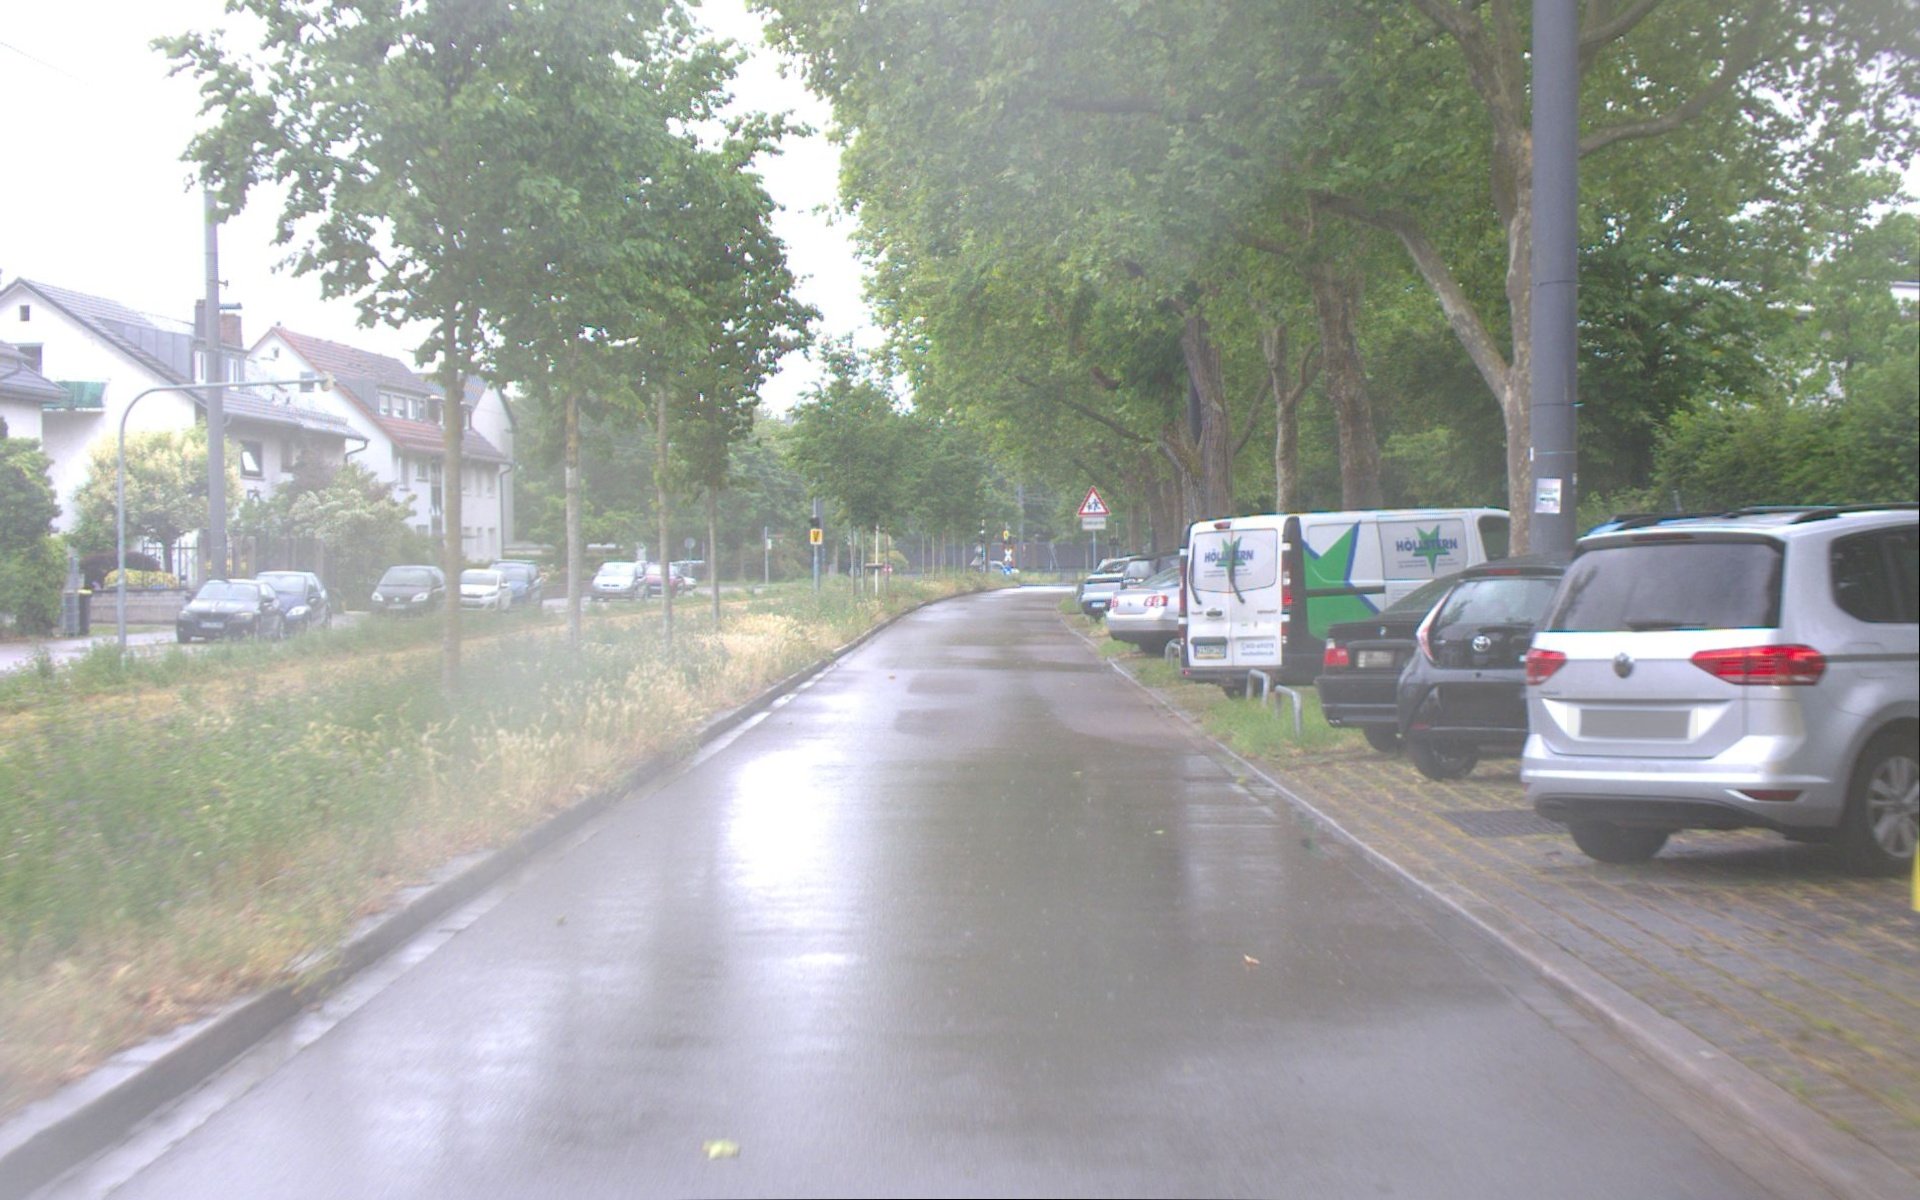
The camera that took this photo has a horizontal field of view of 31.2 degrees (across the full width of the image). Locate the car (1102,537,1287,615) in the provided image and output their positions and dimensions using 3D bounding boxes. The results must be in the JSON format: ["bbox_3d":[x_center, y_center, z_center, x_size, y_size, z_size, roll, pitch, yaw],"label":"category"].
[{"bbox_3d":[5.072,-0.529,74.267,3.702,1.561,1.619,-2,1,-32],"label":"car"}]

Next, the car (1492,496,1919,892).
[{"bbox_3d":[4.563,0.334,16.265,4.036,1.635,1.654,-3,1,-38],"label":"car"}]

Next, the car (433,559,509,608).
[{"bbox_3d":[-15.707,-0.535,110.481,1.796,1.483,3.597,1,1,2],"label":"car"}]

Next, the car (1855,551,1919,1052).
[{"bbox_3d":[4.343,0.514,10.190,2.895,1.461,1.604,-3,1,-28],"label":"car"}]

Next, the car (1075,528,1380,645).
[{"bbox_3d":[4.288,-0.240,54.949,4.546,1.539,1.888,-5,3,-31],"label":"car"}]

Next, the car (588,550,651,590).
[{"bbox_3d":[-13.961,-1.241,141.284,1.993,1.575,4.517,1,1,2],"label":"car"}]

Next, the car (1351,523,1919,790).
[{"bbox_3d":[4.477,0.338,22.561,3.394,1.513,1.850,-3,1,-37],"label":"car"}]

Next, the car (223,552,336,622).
[{"bbox_3d":[-16.097,-0.332,81.483,1.874,1.545,3.870,1,1,0],"label":"car"}]

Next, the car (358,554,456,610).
[{"bbox_3d":[-15.871,-0.527,98.805,1.993,1.511,4.205,1,1,2],"label":"car"}]

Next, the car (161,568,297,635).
[{"bbox_3d":[-16.233,0.013,76.519,1.993,1.346,4.240,1,1,2],"label":"car"}]

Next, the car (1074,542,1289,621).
[{"bbox_3d":[5.162,-0.439,79.849,4.761,1.662,1.994,-2,1,-36],"label":"car"}]

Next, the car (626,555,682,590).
[{"bbox_3d":[-13.742,-1.270,154.818,1.993,1.483,4.205,1,1,2],"label":"car"}]

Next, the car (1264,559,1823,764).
[{"bbox_3d":[4.444,0.404,25.858,4.293,1.379,1.740,-1,1,-39],"label":"car"}]

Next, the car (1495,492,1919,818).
[{"bbox_3d":[4.855,0.254,19.639,3.265,1.665,1.592,-3,1,-34],"label":"car"}]

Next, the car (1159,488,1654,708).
[{"bbox_3d":[4.703,-0.072,35.882,5.014,2.006,2.000,-3,2,-34],"label":"car"}]
